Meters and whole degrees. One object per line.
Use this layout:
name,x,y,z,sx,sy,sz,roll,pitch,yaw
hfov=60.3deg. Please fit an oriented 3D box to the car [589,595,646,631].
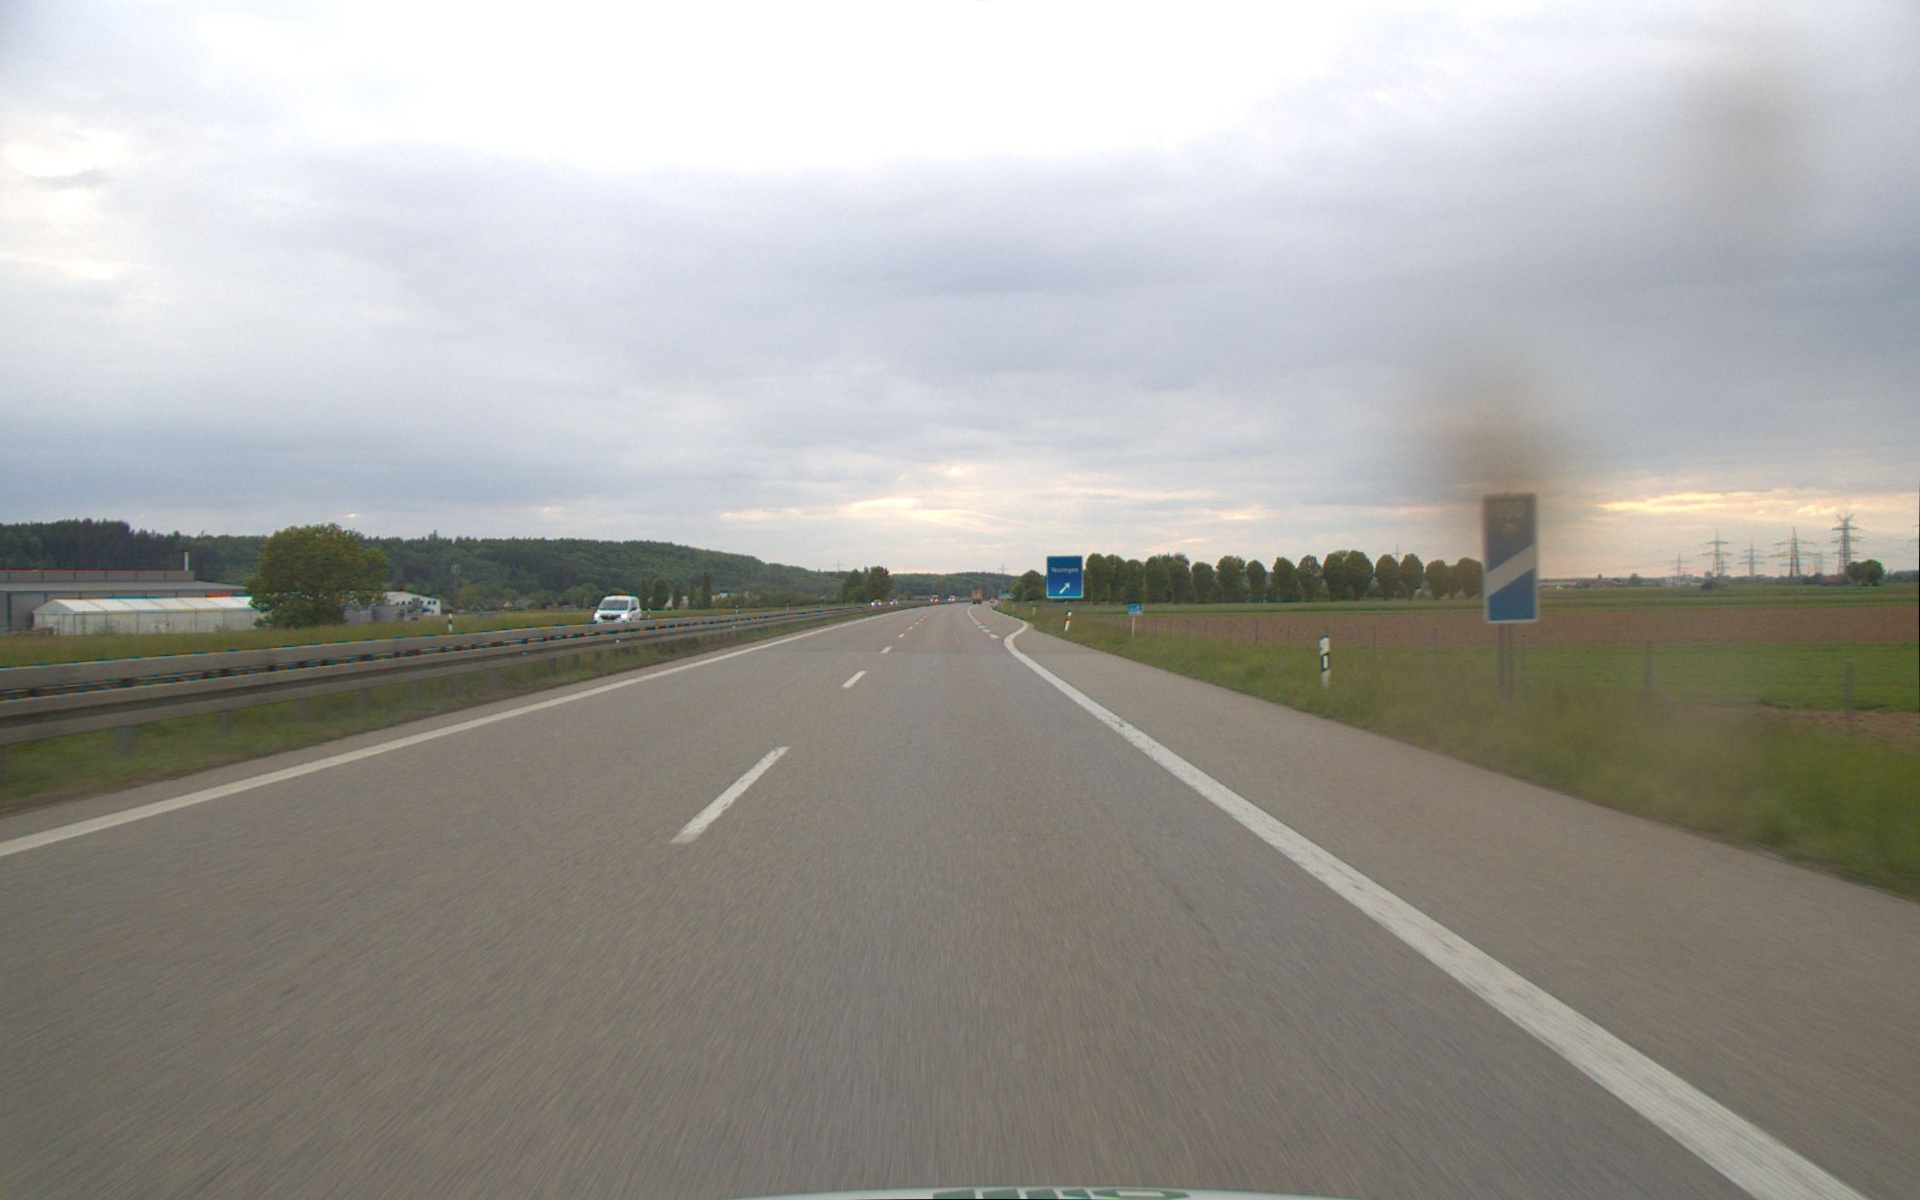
car,-17.571,0.651,85.063,1.953,1.796,4.950,1,0,-1
